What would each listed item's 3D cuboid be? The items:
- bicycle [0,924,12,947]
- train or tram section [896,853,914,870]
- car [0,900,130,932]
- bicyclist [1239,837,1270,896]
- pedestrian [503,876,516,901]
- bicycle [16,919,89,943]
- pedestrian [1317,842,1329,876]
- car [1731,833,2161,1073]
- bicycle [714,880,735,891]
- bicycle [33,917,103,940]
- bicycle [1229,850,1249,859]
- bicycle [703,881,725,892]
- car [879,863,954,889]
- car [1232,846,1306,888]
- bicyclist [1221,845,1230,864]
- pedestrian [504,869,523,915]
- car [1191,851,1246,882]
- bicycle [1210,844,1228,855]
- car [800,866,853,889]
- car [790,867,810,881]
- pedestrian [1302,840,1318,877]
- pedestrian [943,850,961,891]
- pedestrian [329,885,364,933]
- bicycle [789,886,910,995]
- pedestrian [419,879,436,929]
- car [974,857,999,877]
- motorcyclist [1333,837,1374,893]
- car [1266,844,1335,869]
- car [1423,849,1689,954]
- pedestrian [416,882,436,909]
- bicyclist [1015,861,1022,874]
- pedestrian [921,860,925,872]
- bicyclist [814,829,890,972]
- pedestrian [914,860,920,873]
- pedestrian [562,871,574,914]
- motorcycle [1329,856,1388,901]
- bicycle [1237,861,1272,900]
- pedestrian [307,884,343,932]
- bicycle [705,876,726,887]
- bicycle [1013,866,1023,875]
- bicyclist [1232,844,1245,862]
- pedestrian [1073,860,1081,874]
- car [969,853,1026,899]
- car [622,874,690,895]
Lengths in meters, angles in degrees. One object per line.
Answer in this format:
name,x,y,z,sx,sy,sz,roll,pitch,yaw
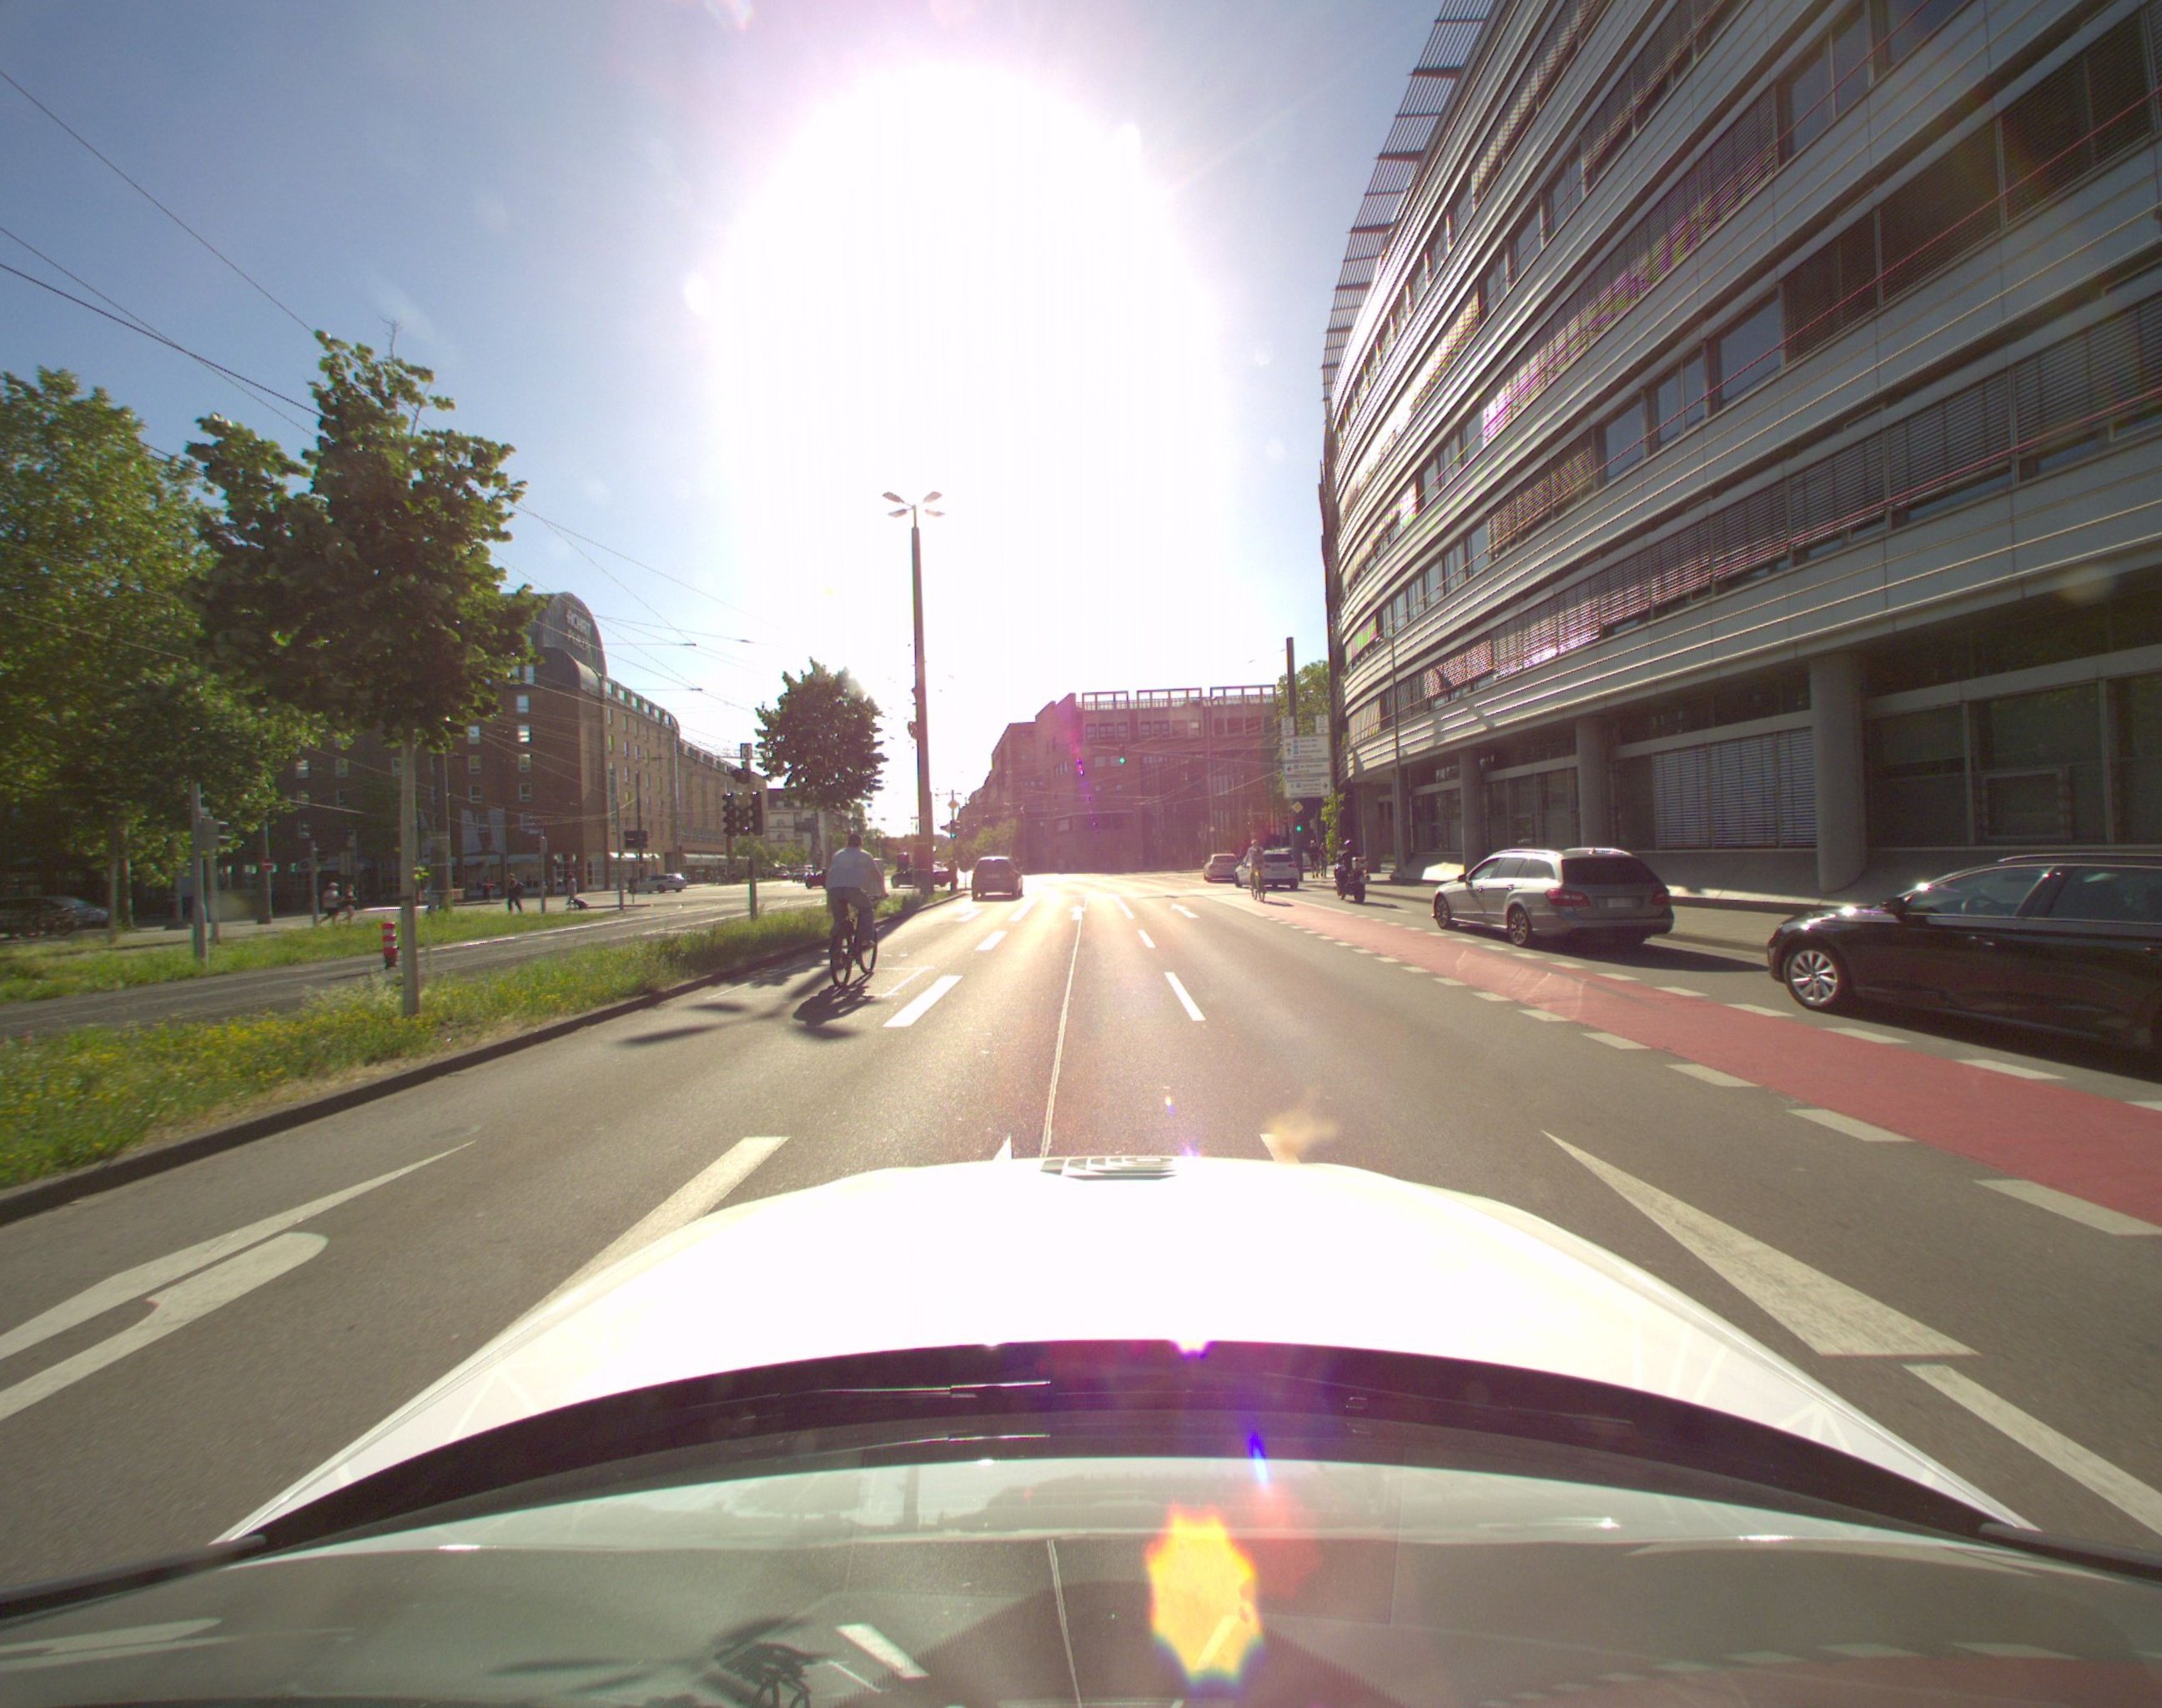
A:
bicycle,-39.787,2.964,29.220,2.023,0.799,0.374,-2,-1,-9
train or tram section,-33.647,1.453,156.022,2.326,3.003,13.118,-2,0,-9
car,-48.948,2.961,39.139,3.975,1.231,1.999,-2,0,-1
bicyclist,5.290,0.365,24.822,0.647,1.752,1.045,-2,0,0
pedestrian,-44.569,2.674,63.525,0.523,1.932,0.748,-2,0,-12
bicycle,-39.920,2.971,31.626,2.023,0.799,0.374,-2,-1,-9
pedestrian,11.872,0.229,39.978,0.424,1.645,0.565,-3,1,18
car,7.448,0.593,5.900,1.716,1.422,4.636,-3,0,0
bicycle,-48.567,4.321,110.882,2.478,1.310,0.733,-2,-1,-2
bicycle,-40.732,3.001,32.752,2.023,0.799,0.374,-2,-1,-9
bicycle,14.636,0.048,75.454,1.669,0.806,0.671,-3,-1,-11
bicycle,-48.747,4.319,108.118,2.478,1.310,0.733,-2,-1,-2
car,-10.380,1.366,51.317,4.464,1.449,1.742,-3,0,26
car,7.550,0.485,33.085,1.901,1.583,4.134,0,0,-2
bicyclist,14.311,0.039,80.756,0.608,1.884,0.646,-2,-1,-20
pedestrian,-22.964,1.532,32.950,0.585,1.831,0.492,-2,0,-38
car,7.221,0.606,43.140,1.903,1.541,4.131,0,0,-5
bicycle,13.656,-0.403,80.616,1.675,0.994,0.669,-2,-1,-21
car,-18.355,1.697,58.646,3.539,1.449,1.669,-3,0,31
car,-32.744,2.323,95.067,1.611,1.398,3.904,-6,1,-12
pedestrian,11.301,0.217,40.129,0.632,1.798,0.611,-3,1,18
pedestrian,-5.679,0.709,35.902,0.670,1.753,0.766,-2,0,-12
pedestrian,-29.239,2.175,32.425,0.756,1.831,0.626,-2,0,9
bicycle,-2.803,0.998,10.211,0.684,1.069,2.698,-1,0,1
pedestrian,-24.914,1.899,31.047,0.464,1.831,0.453,-2,0,-38
car,-9.847,1.362,84.442,1.996,1.948,3.981,-2,-1,-14
motorcyclist,7.796,0.315,23.355,0.826,1.561,0.942,-1,-1,0
car,14.352,0.154,53.371,3.991,1.583,1.904,0,1,-13
car,7.580,0.653,13.666,1.715,1.396,4.789,-2,0,1
pedestrian,-47.341,2.994,58.855,0.702,1.932,0.901,-2,0,-12
bicyclist,-6.605,1.404,85.816,0.593,1.335,0.929,-2,-1,-14
pedestrian,-22.182,1.733,114.336,0.539,1.655,0.703,-2,-1,-14
bicyclist,-2.809,0.545,10.084,0.615,1.669,1.020,-1,0,1
pedestrian,-21.183,1.603,105.176,0.615,1.669,0.860,-5,1,-15
pedestrian,-22.279,1.669,35.360,0.387,1.831,0.459,-2,0,-31
motorcycle,7.818,0.665,23.070,0.826,1.201,2.390,-1,-1,0
bicycle,5.303,0.792,25.003,0.647,1.110,1.758,-2,1,0
pedestrian,-29.463,2.097,31.748,0.757,1.831,0.625,-2,0,5
bicycle,-49.127,3.730,109.401,2.478,1.310,0.733,-2,-1,-2
bicycle,-6.683,1.759,86.201,0.604,0.985,2.303,-2,-1,-14
bicyclist,14.580,-0.125,75.439,0.863,1.630,0.669,-2,-1,-11
pedestrian,-0.495,1.429,90.840,0.619,1.563,0.982,-2,-1,-15
car,-3.086,0.795,30.702,1.721,1.564,3.676,-2,0,-1
car,-33.321,2.403,63.900,4.365,1.381,2.075,-3,0,15
